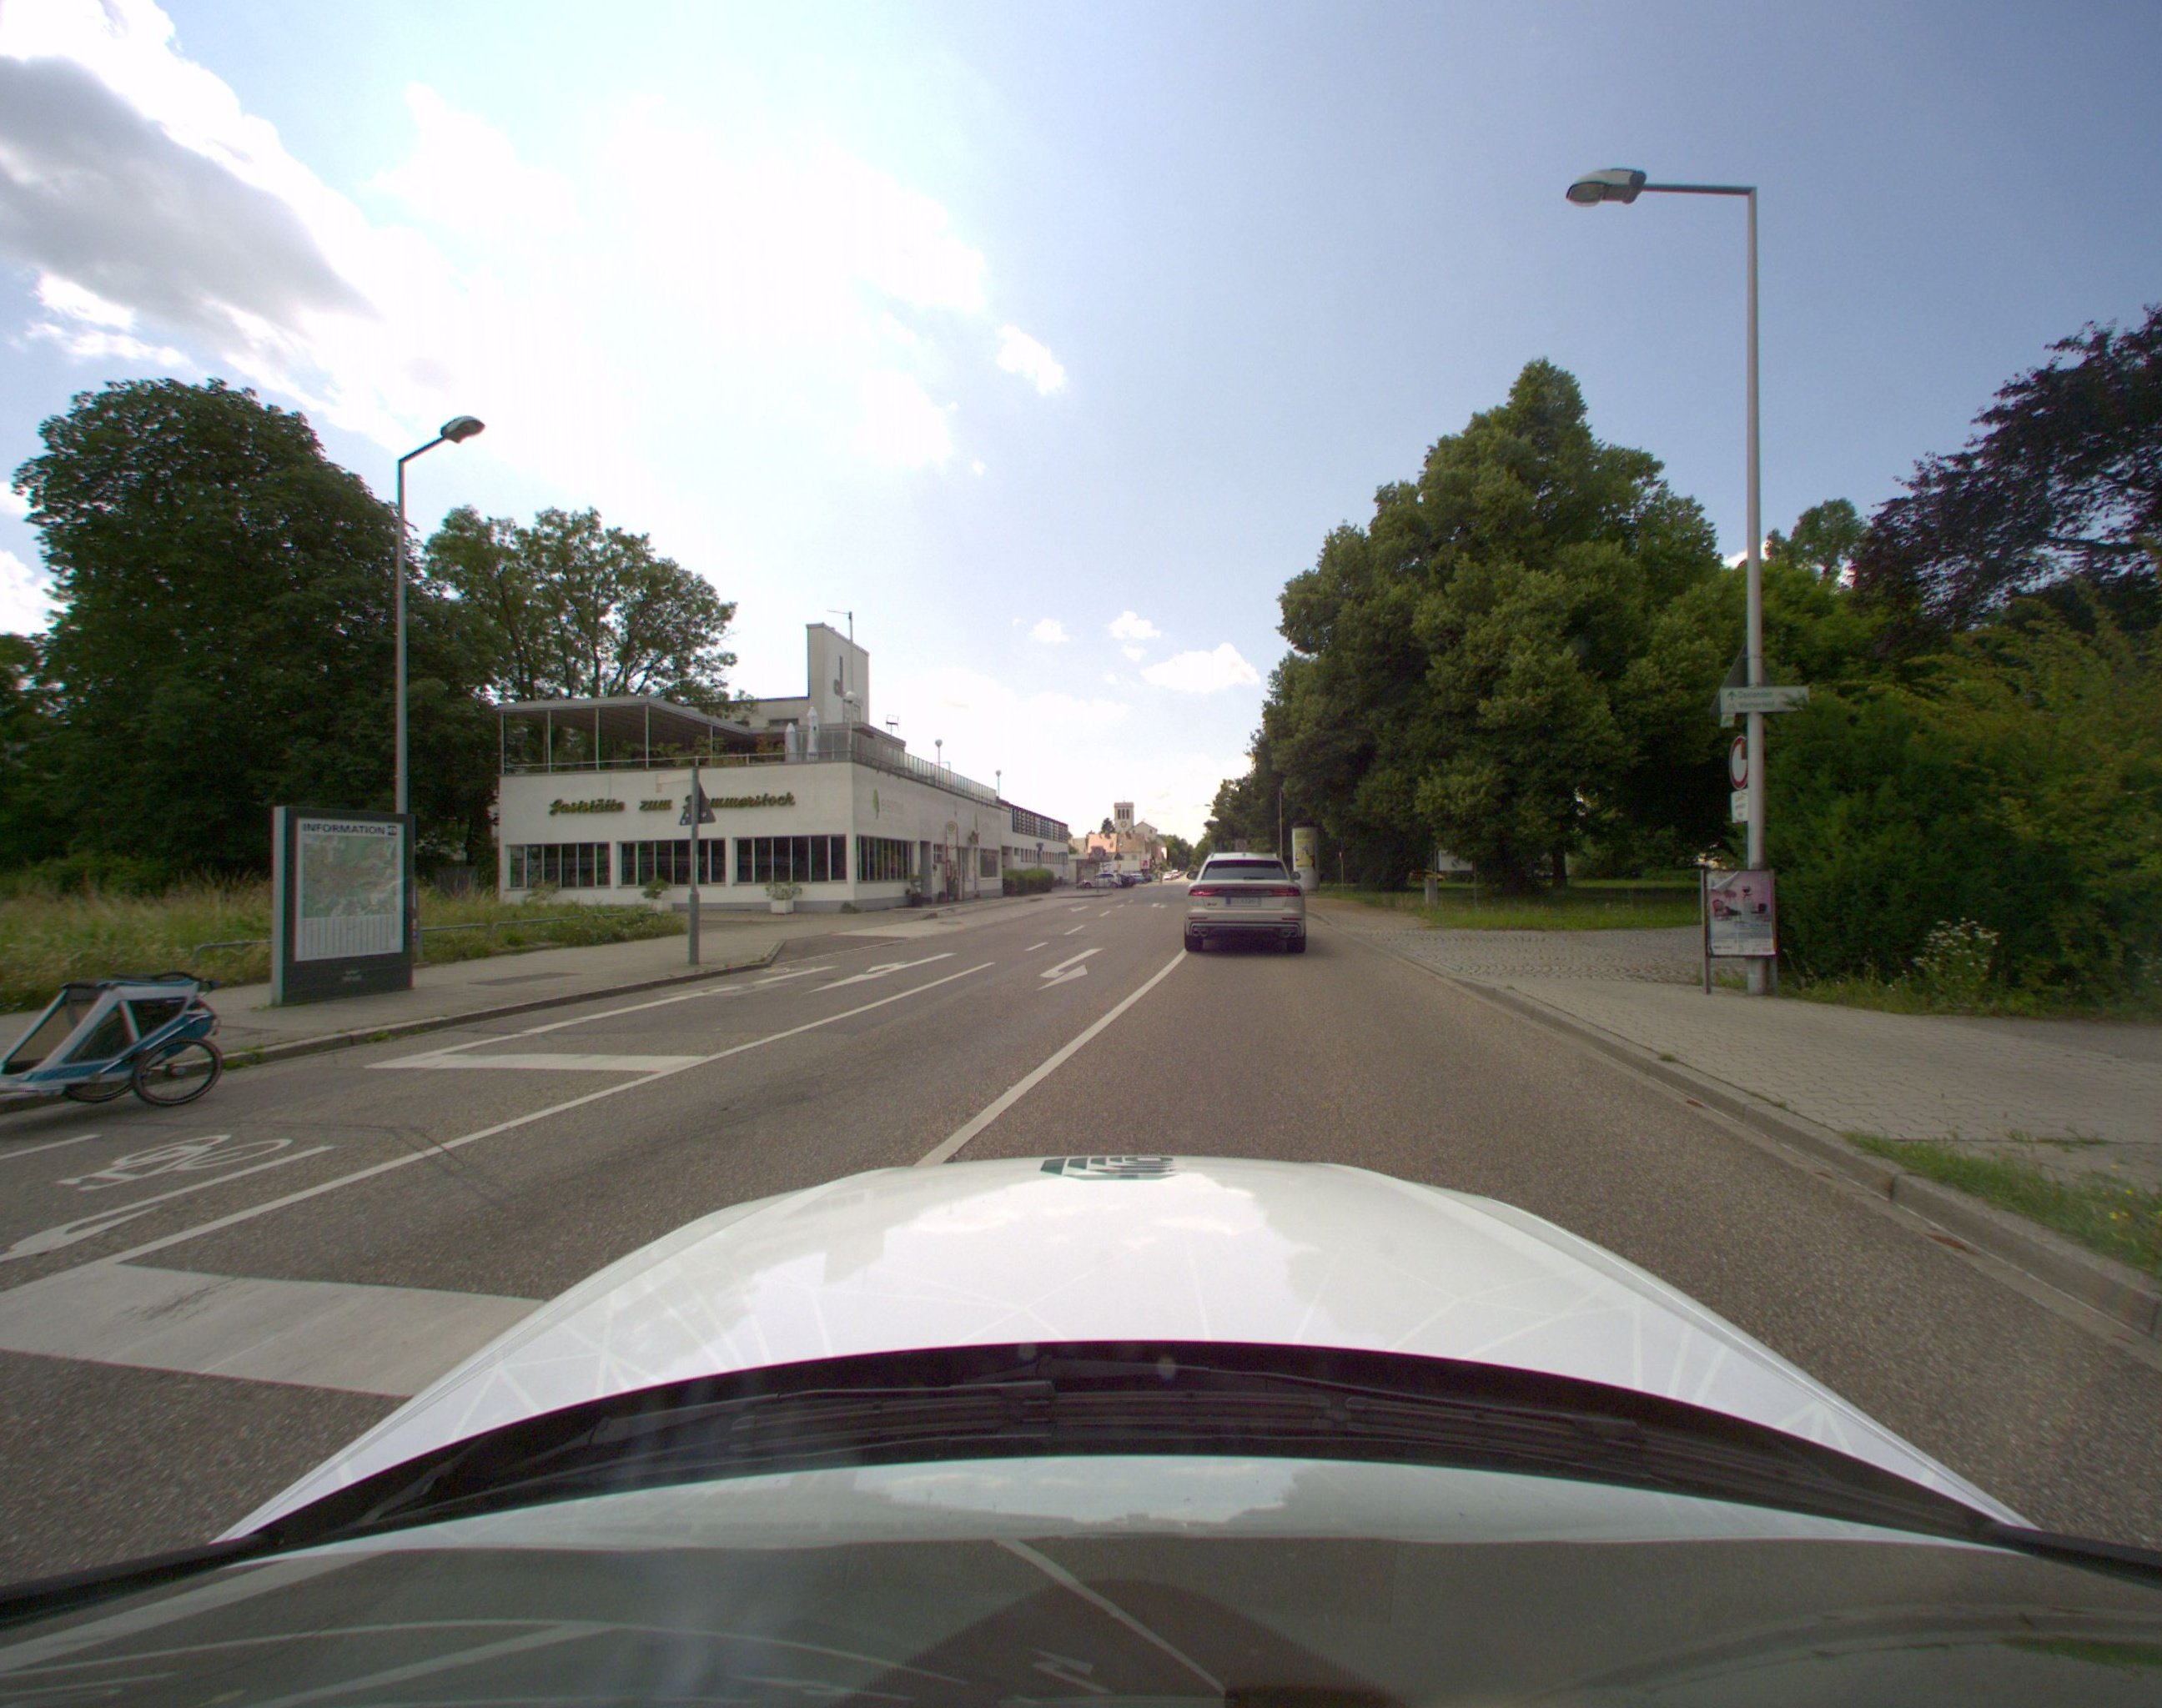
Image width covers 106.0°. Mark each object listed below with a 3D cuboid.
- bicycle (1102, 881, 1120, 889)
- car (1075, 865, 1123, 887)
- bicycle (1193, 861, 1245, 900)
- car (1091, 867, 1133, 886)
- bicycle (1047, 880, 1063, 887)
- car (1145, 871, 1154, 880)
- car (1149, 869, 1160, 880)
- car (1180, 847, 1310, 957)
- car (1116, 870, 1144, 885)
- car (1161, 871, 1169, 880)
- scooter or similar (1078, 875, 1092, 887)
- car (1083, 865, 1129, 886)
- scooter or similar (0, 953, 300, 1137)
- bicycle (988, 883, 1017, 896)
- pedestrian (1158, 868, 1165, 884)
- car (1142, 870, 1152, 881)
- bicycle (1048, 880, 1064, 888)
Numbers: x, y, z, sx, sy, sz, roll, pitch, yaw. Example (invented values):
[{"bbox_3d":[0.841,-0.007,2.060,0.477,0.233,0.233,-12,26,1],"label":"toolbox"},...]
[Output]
[{"bbox_3d":[2.768,2.845,75.545,1.663,0.757,0.570,0,-2,2],"label":"bicycle"},{"bbox_3d":[1.766,2.191,79.838,4.613,2.014,2.001,-1,-3,2],"label":"car"},{"bbox_3d":[6.326,1.193,37.670,1.984,1.675,4.213,-1,-1,5],"label":"bicycle"},{"bbox_3d":[3.508,2.542,91.358,4.613,2.014,2.001,-1,-3,2],"label":"car"},{"bbox_3d":[-2.772,3.211,87.506,1.674,0.757,0.567,1,-2,-19],"label":"bicycle"},{"bbox_3d":[14.838,4.676,176.172,1.984,2.014,4.005,-1,-1,5],"label":"car"},{"bbox_3d":[13.966,3.902,154.484,1.984,2.014,4.005,-1,-1,5],"label":"car"},{"bbox_3d":[3.055,0.771,14.939,1.968,1.684,4.590,0,-1,13],"label":"car"},{"bbox_3d":[7.145,3.396,118.491,3.972,2.014,2.001,-2,-2,1],"label":"car"},{"bbox_3d":[19.278,4.977,187.611,1.774,1.855,4.005,-1,-1,5],"label":"car"},{"bbox_3d":[0.385,2.535,76.269,0.625,0.996,1.980,0,-3,-23],"label":"scooter or similar"},{"bbox_3d":[2.602,2.234,84.111,4.613,2.014,2.001,-1,-3,2],"label":"car"},{"bbox_3d":[-6.980,1.297,5.935,0.951,0.979,1.587,-2,-1,18],"label":"scooter or similar"},{"bbox_3d":[-4.698,2.127,48.660,1.670,0.757,0.409,-1,-2,-10],"label":"bicycle"},{"bbox_3d":[10.926,2.982,110.414,0.904,2.135,1.016,-1,-2,8],"label":"pedestrian"},{"bbox_3d":[13.334,4.315,163.970,1.984,2.014,4.005,-1,-1,5],"label":"car"},{"bbox_3d":[-2.680,3.190,86.726,1.674,0.757,0.567,1,-2,-19],"label":"bicycle"}]
